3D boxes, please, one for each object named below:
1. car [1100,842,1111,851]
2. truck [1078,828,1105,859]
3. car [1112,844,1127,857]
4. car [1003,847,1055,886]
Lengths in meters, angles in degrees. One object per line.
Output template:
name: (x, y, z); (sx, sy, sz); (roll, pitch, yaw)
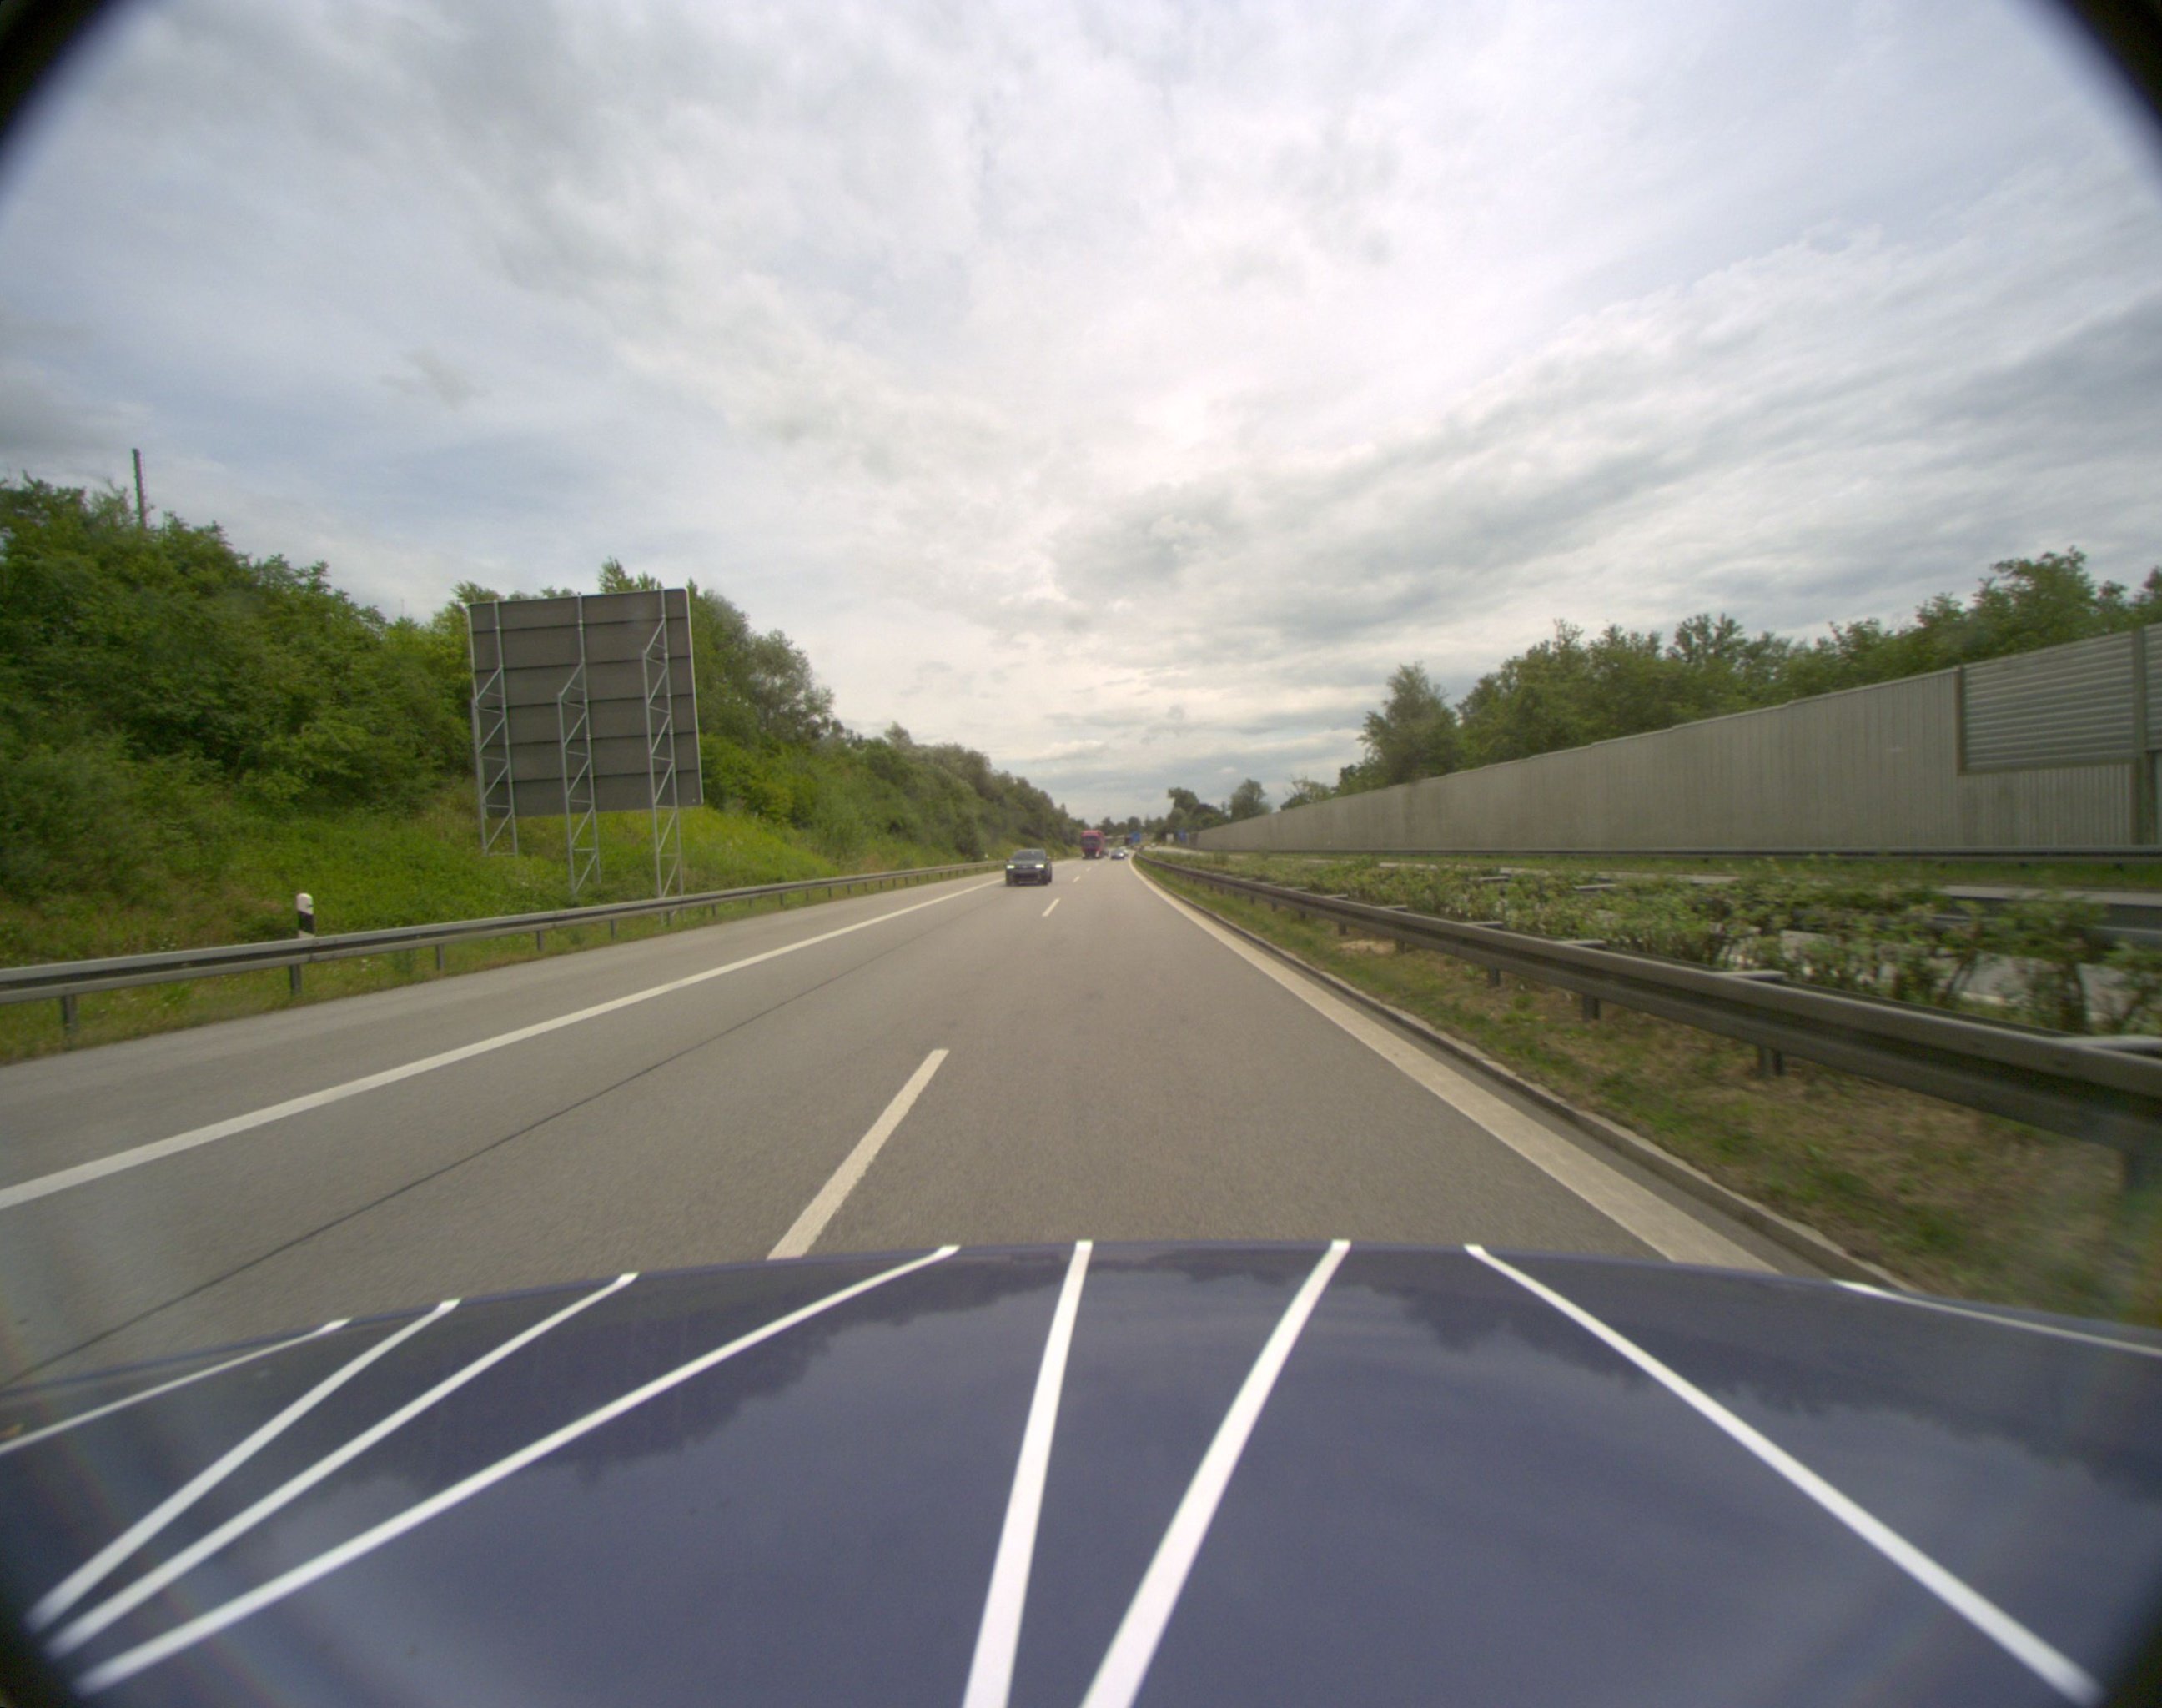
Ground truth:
car: (4.686, -1.426, 144.655); (1.889, 1.608, 4.001); (-1, 1, 5)
truck: (1.602, -1.549, 107.671); (2.933, 4.069, 11.344); (-2, 1, 4)
car: (5.068, -0.455, 99.927); (1.889, 1.608, 4.000); (-1, 1, 4)
car: (-2.270, 0.520, 34.395); (1.889, 1.608, 4.000); (-1, 1, 3)
